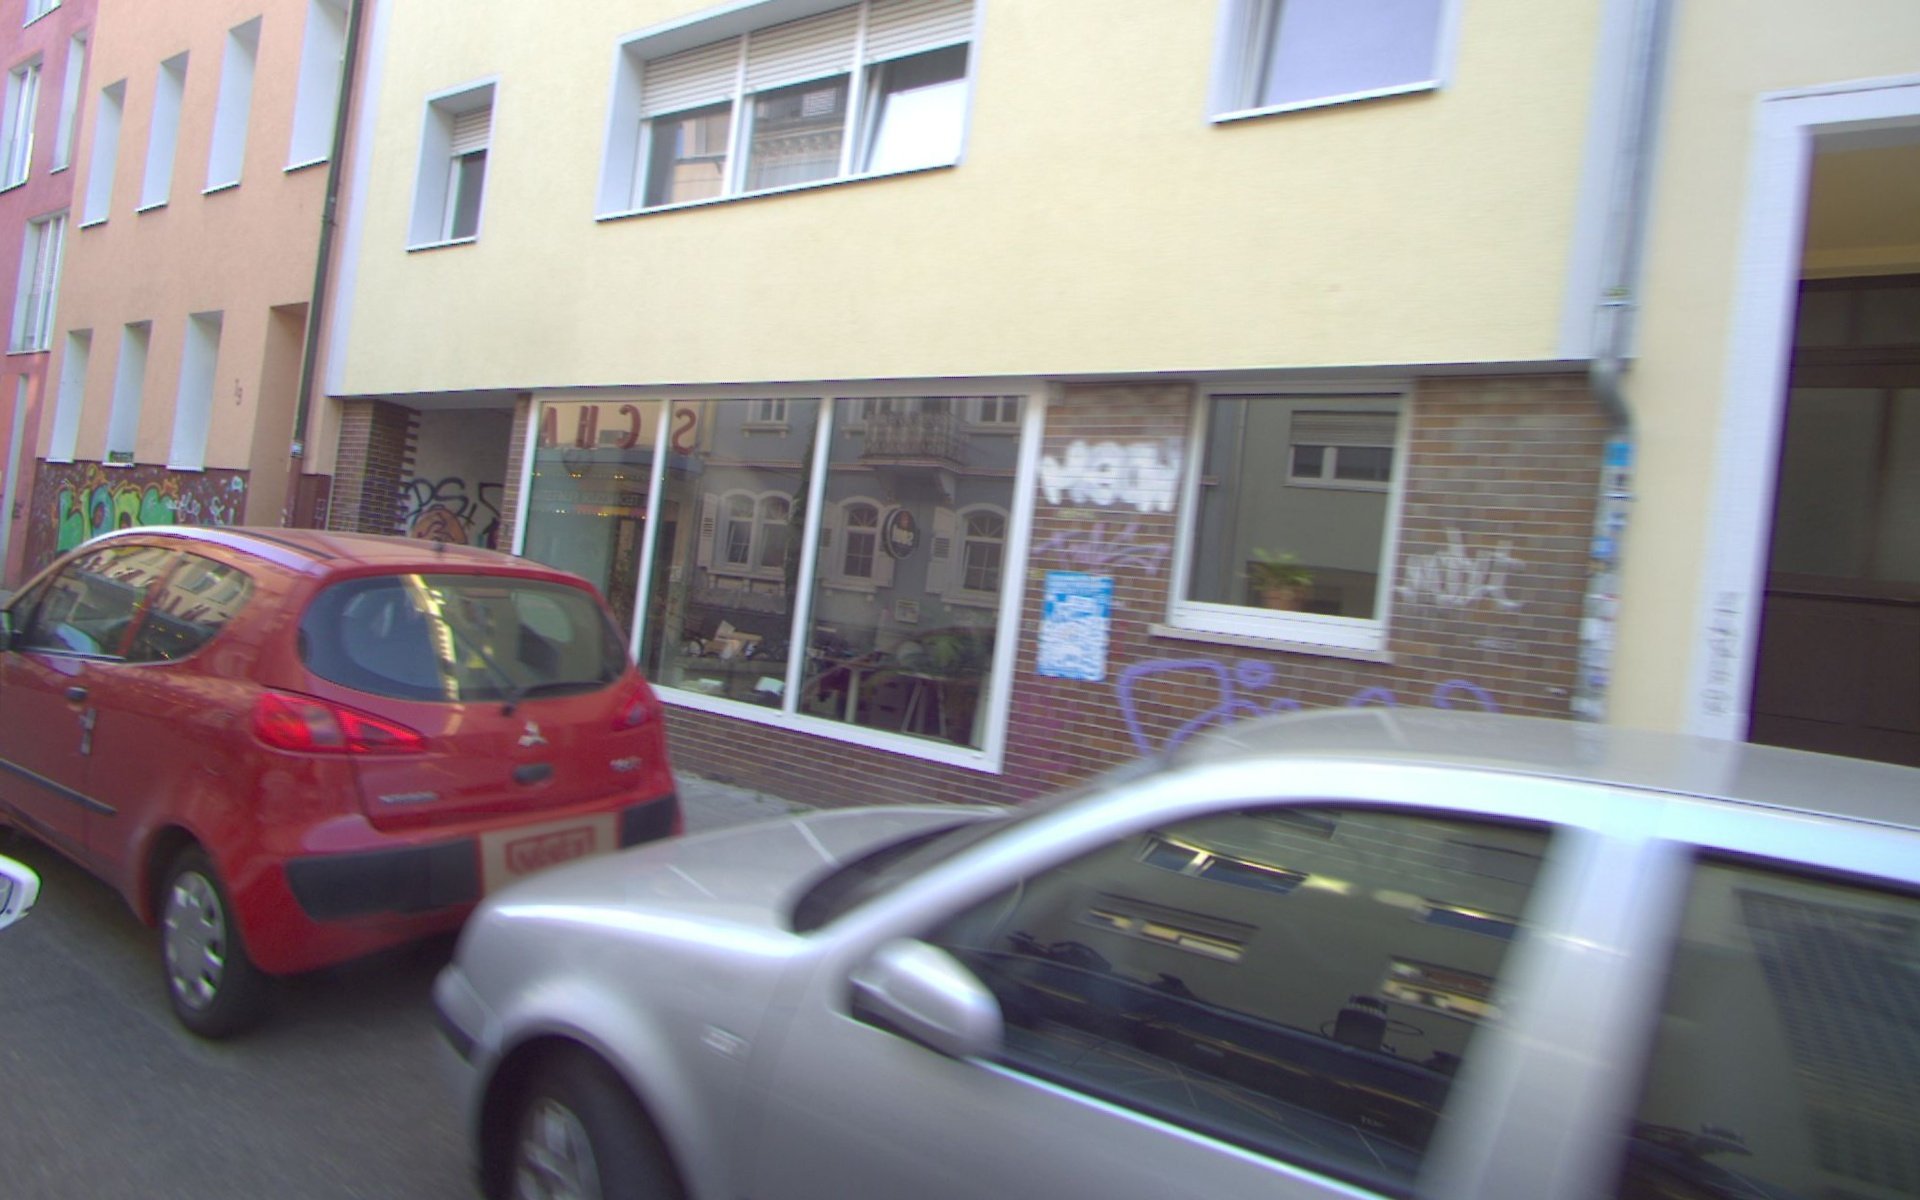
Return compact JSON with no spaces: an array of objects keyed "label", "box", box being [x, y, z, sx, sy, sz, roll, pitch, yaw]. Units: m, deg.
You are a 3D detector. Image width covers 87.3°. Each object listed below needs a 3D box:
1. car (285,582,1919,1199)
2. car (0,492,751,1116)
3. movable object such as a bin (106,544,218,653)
[{"label":"car","box":[0.781,0.953,1.850,4.123,1.471,1.690,7,0,31]},{"label":"car","box":[-3.001,0.449,4.394,3.915,1.542,1.698,7,0,33]},{"label":"movable object such as a bin","box":[-8.582,-0.007,10.824,0.724,1.071,0.692,7,2,32]}]
